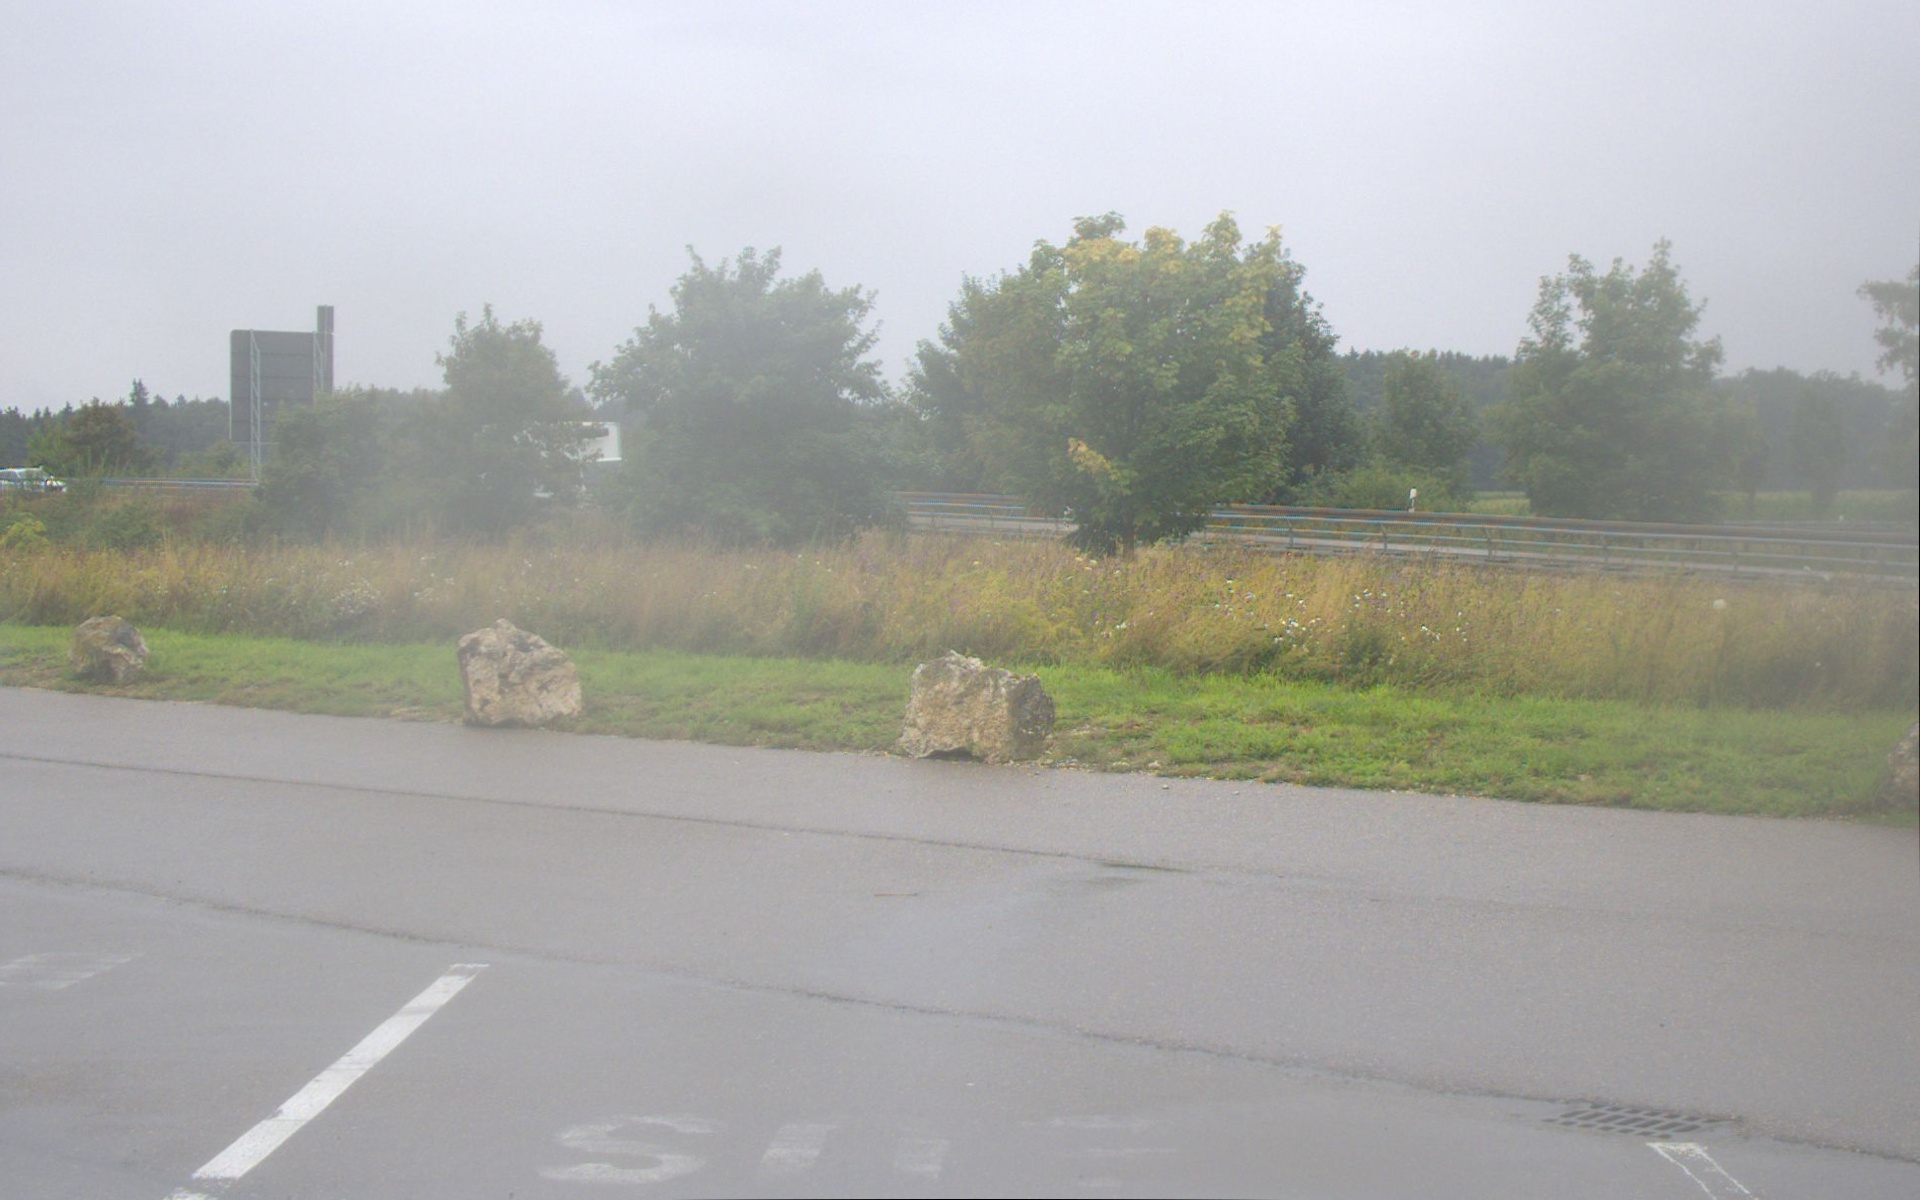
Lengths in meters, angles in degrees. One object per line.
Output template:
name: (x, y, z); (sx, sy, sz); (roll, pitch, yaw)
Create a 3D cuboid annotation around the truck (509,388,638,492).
truck: (-13.361, -5.437, 118.212); (2.738, 3.379, 8.070); (0, 2, -19)
